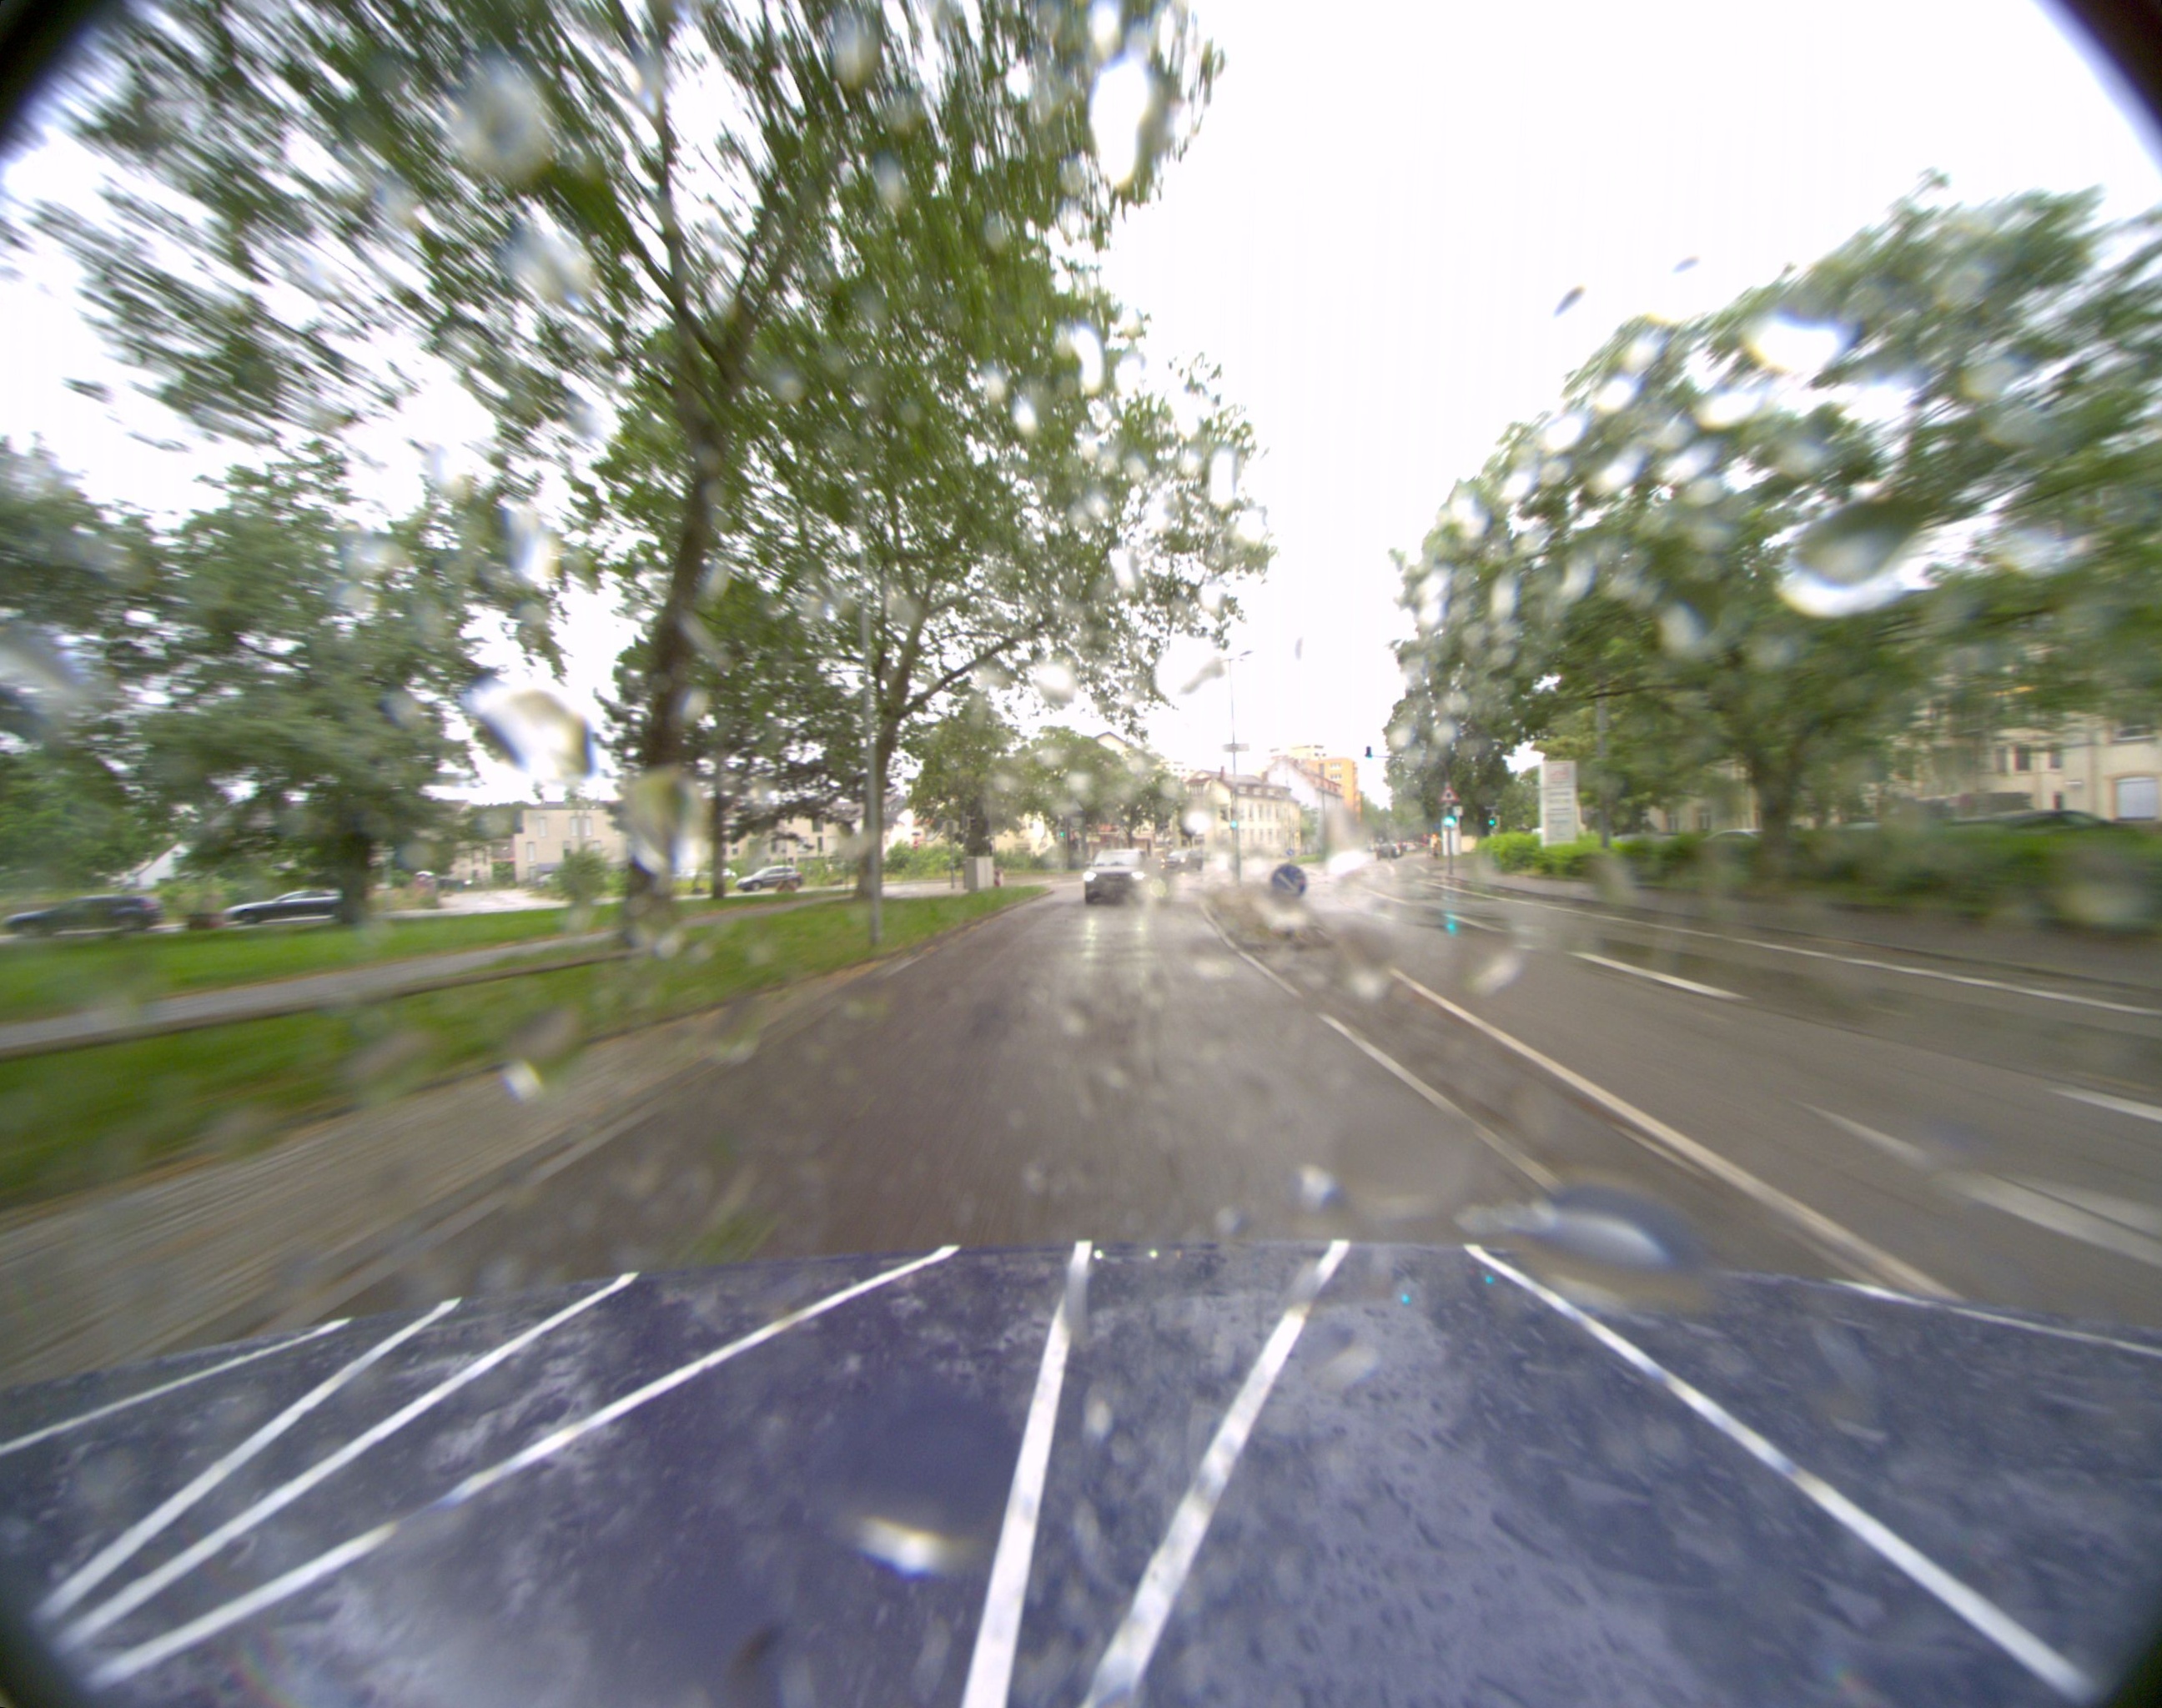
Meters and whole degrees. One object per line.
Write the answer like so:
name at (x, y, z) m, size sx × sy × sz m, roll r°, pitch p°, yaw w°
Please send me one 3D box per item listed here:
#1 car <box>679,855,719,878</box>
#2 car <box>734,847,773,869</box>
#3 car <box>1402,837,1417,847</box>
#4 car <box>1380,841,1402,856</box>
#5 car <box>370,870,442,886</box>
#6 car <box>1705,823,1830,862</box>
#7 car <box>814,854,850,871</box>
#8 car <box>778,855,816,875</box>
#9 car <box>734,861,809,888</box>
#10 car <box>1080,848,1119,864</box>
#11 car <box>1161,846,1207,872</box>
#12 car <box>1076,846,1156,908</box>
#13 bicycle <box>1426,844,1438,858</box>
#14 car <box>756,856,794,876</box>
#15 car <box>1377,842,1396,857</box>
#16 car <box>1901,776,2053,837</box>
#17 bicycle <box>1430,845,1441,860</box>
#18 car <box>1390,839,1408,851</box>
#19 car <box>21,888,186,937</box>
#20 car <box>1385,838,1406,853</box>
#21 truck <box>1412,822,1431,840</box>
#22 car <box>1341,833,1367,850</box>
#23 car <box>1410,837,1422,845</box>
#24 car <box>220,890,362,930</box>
car at (-36.911, 1.185, 73.319) m, size 3.989 × 2.002 × 2.004 m, roll -3°, pitch 0°, yaw 41°
car at (-33.002, 0.391, 76.581) m, size 3.989 × 2.002 × 2.004 m, roll -3°, pitch 0°, yaw 41°
car at (52.601, -1.968, 121.788) m, size 1.995 × 1.412 × 4.006 m, roll -3°, pitch 0°, yaw 26°
car at (34.833, -0.616, 85.293) m, size 1.995 × 1.558 × 4.006 m, roll -3°, pitch 0°, yaw 26°
car at (-59.401, 2.114, 66.955) m, size 4.406 × 1.129 × 1.765 m, roll -3°, pitch 0°, yaw -30°
car at (31.553, -0.501, 35.095) m, size 1.782 × 1.676 × 4.021 m, roll -2°, pitch 0°, yaw -9°
car at (-27.490, 0.974, 83.862) m, size 3.989 × 1.674 × 1.913 m, roll -3°, pitch 0°, yaw 41°
car at (-29.865, 1.143, 79.954) m, size 3.989 × 1.849 × 2.004 m, roll -3°, pitch 0°, yaw 41°
car at (-21.341, 1.412, 52.484) m, size 4.313 × 1.645 × 1.855 m, roll -3°, pitch 0°, yaw -44°
car at (1.944, 0.236, 77.247) m, size 1.699 × 1.425 × 4.165 m, roll -3°, pitch 0°, yaw 40°
car at (7.086, 0.325, 51.886) m, size 1.829 × 1.619 × 4.007 m, roll -3°, pitch 0°, yaw 28°
car at (1.211, 0.649, 23.908) m, size 1.960 × 1.701 × 4.177 m, roll -3°, pitch 0°, yaw 9°
bicycle at (29.145, -0.258, 63.061) m, size 0.698 × 1.179 × 1.626 m, roll -3°, pitch 0°, yaw 21°
car at (-31.517, 1.203, 78.201) m, size 3.989 × 1.849 × 2.004 m, roll -3°, pitch 0°, yaw 41°
car at (30.279, -0.456, 75.262) m, size 1.546 × 1.389 × 4.201 m, roll -4°, pitch 0°, yaw 25°
car at (54.054, -2.830, 45.939) m, size 6.214 × 3.175 × 2.837 m, roll -3°, pitch 0°, yaw -5°
bicycle at (27.919, -0.128, 59.844) m, size 0.556 × 1.070 × 1.798 m, roll -3°, pitch 0°, yaw 21°
car at (43.443, -1.218, 103.724) m, size 1.995 × 1.558 × 4.006 m, roll -3°, pitch 0°, yaw 26°
car at (-43.190, 2.530, 33.739) m, size 4.096 × 1.799 × 1.877 m, roll -3°, pitch 0°, yaw -39°
car at (37.442, -1.025, 90.328) m, size 1.995 × 1.558 × 4.006 m, roll -3°, pitch 0°, yaw 26°
truck at (91.124, -6.109, 203.348) m, size 3.826 × 4.359 × 10.803 m, roll -3°, pitch 0°, yaw 27°
car at (40.426, -1.878, 112.373) m, size 2.190 × 2.242 × 4.894 m, roll -3°, pitch 0°, yaw 38°
car at (62.761, -2.429, 142.323) m, size 1.995 × 1.412 × 4.006 m, roll -3°, pitch 0°, yaw 26°
car at (-38.530, 2.694, 37.249) m, size 4.538 × 1.540 × 1.975 m, roll -3°, pitch 0°, yaw -39°
